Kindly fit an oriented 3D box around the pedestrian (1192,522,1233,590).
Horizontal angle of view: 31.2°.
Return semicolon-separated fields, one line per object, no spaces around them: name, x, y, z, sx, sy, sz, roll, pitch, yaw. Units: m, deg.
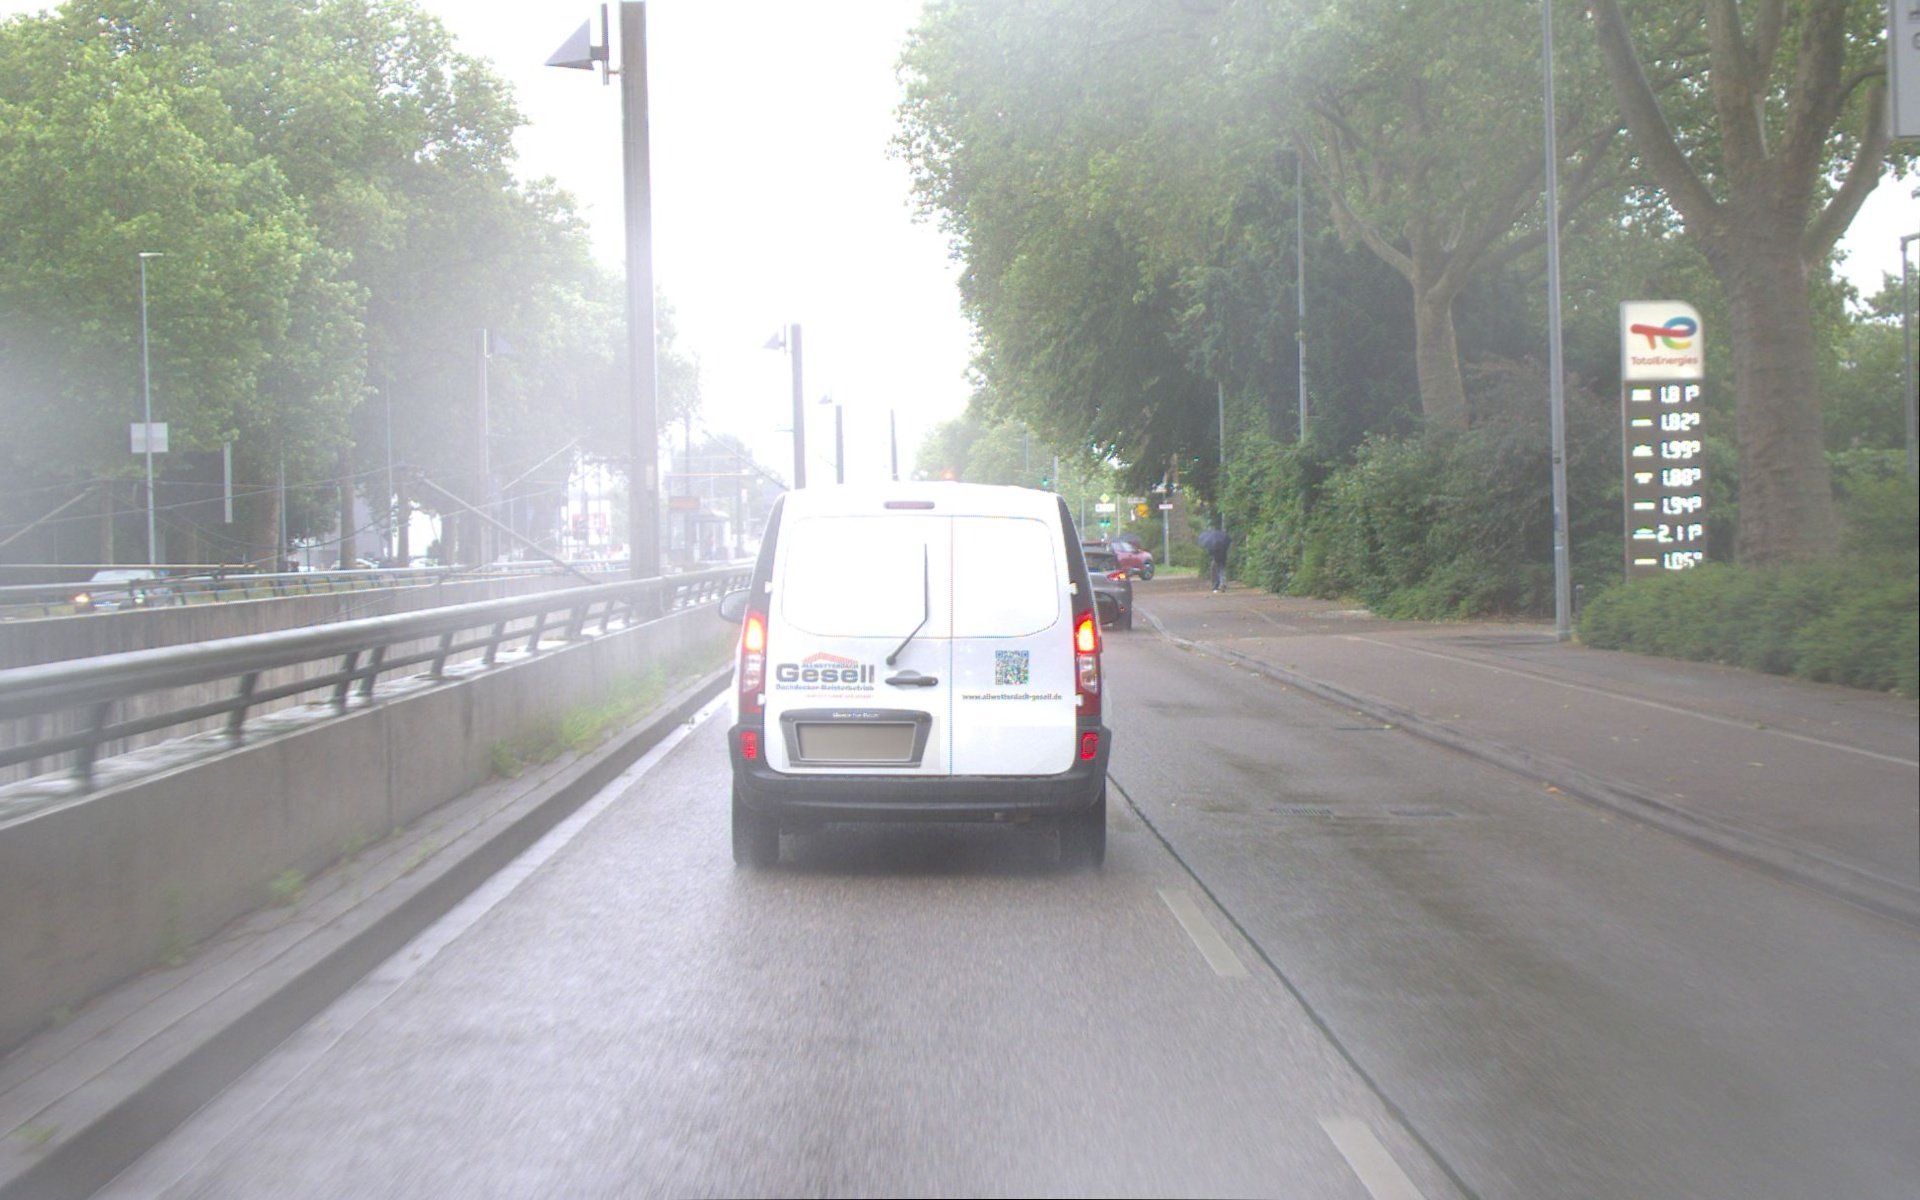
pedestrian;6.414;-1.117;87.260;0.967;1.696;1.141;0;1;0

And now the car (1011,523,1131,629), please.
car;1.950;-0.431;59.867;1.994;1.744;4.000;1;1;3

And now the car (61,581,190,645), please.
car;-19.642;0.290;81.060;1.993;1.399;3.794;0;1;2

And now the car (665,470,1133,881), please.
car;-0.306;0.297;17.222;2.025;1.769;4.274;1;1;-1
